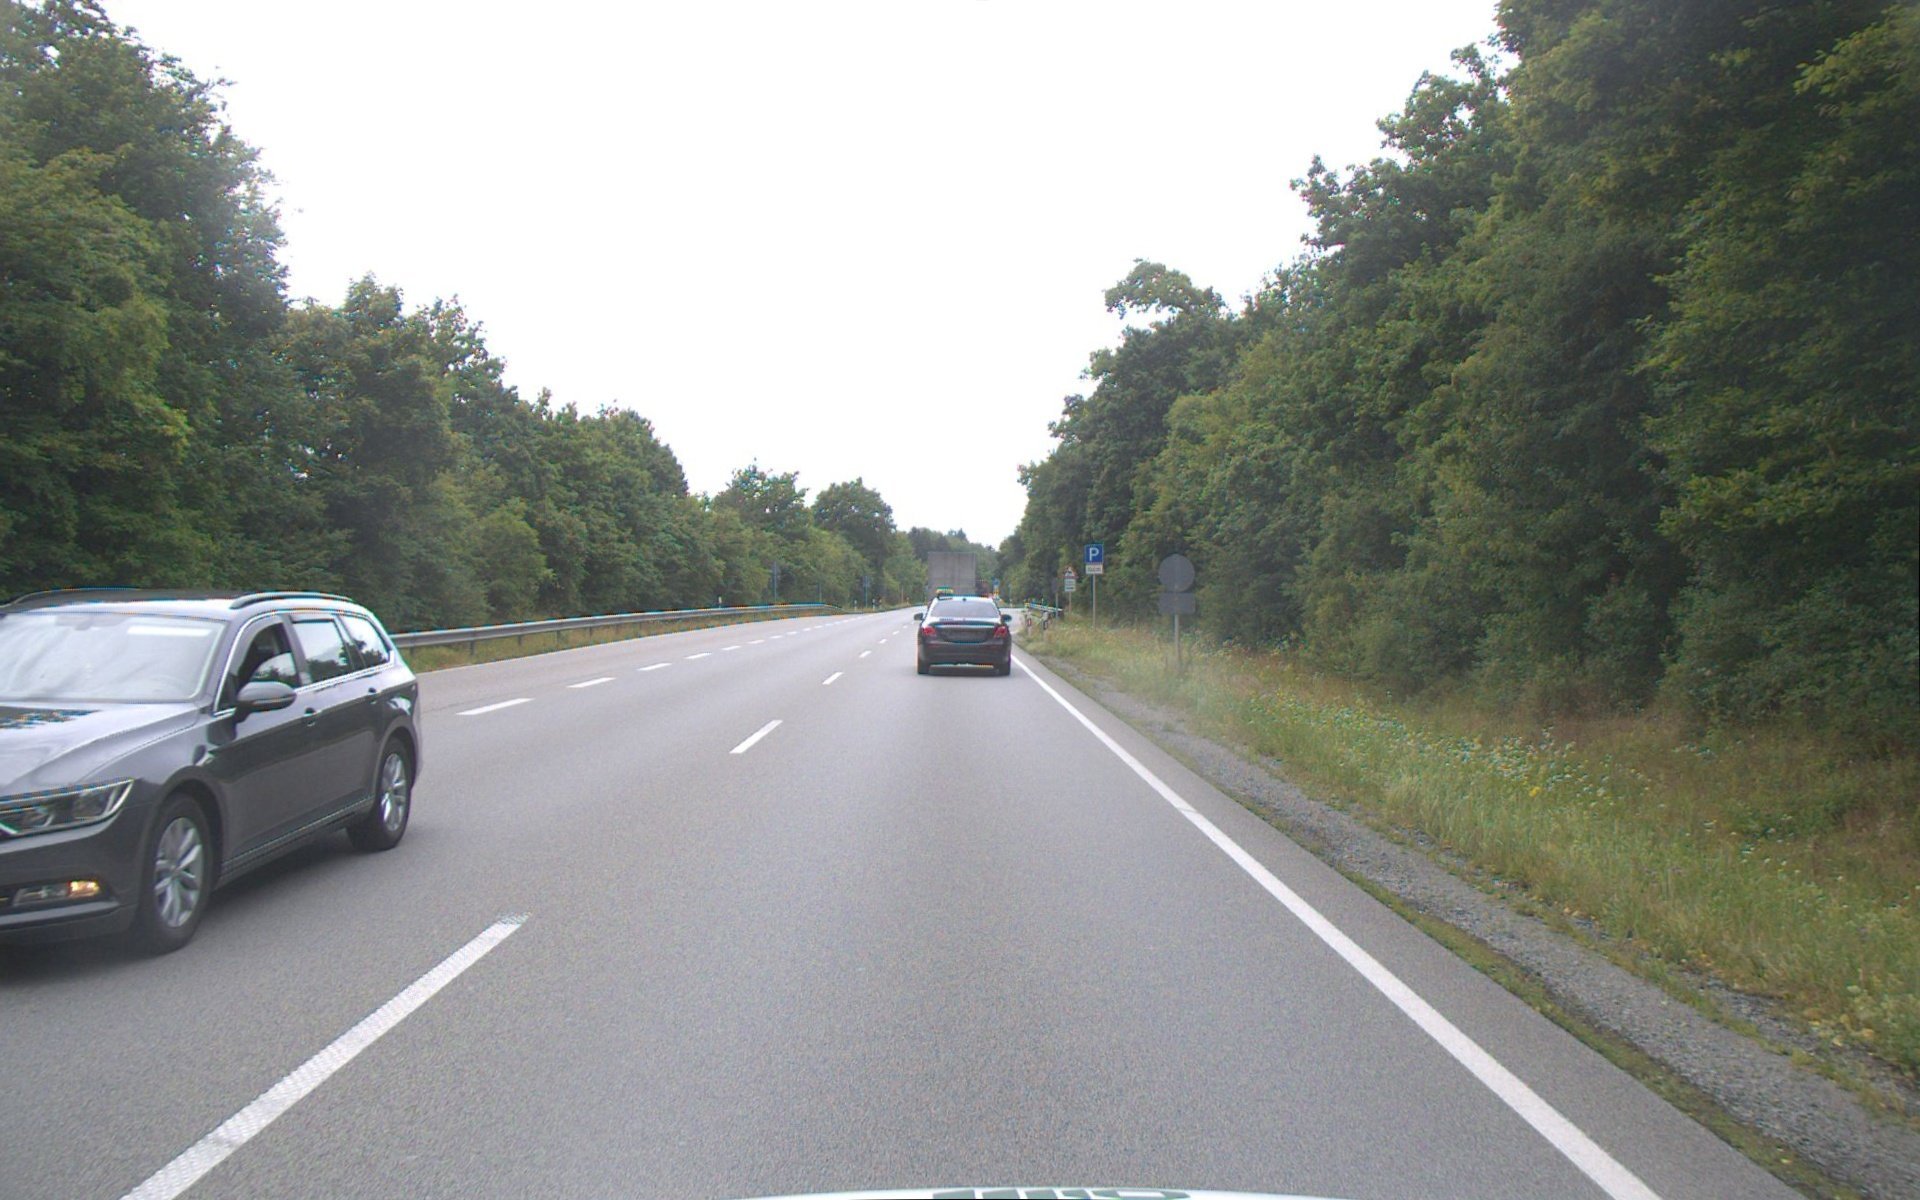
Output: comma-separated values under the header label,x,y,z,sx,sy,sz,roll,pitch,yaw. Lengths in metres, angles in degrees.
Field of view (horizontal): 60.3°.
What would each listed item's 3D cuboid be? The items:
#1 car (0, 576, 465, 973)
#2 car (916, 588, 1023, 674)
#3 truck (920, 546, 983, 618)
label,x,y,z,sx,sy,sz,roll,pitch,yaw
car,-4.034,0.633,8.339,1.771,1.467,4.447,1,0,-1
car,0.127,0.571,32.583,1.756,1.579,3.996,1,0,-5
truck,-0.484,-0.938,91.414,3.214,3.675,11.398,1,0,-1
